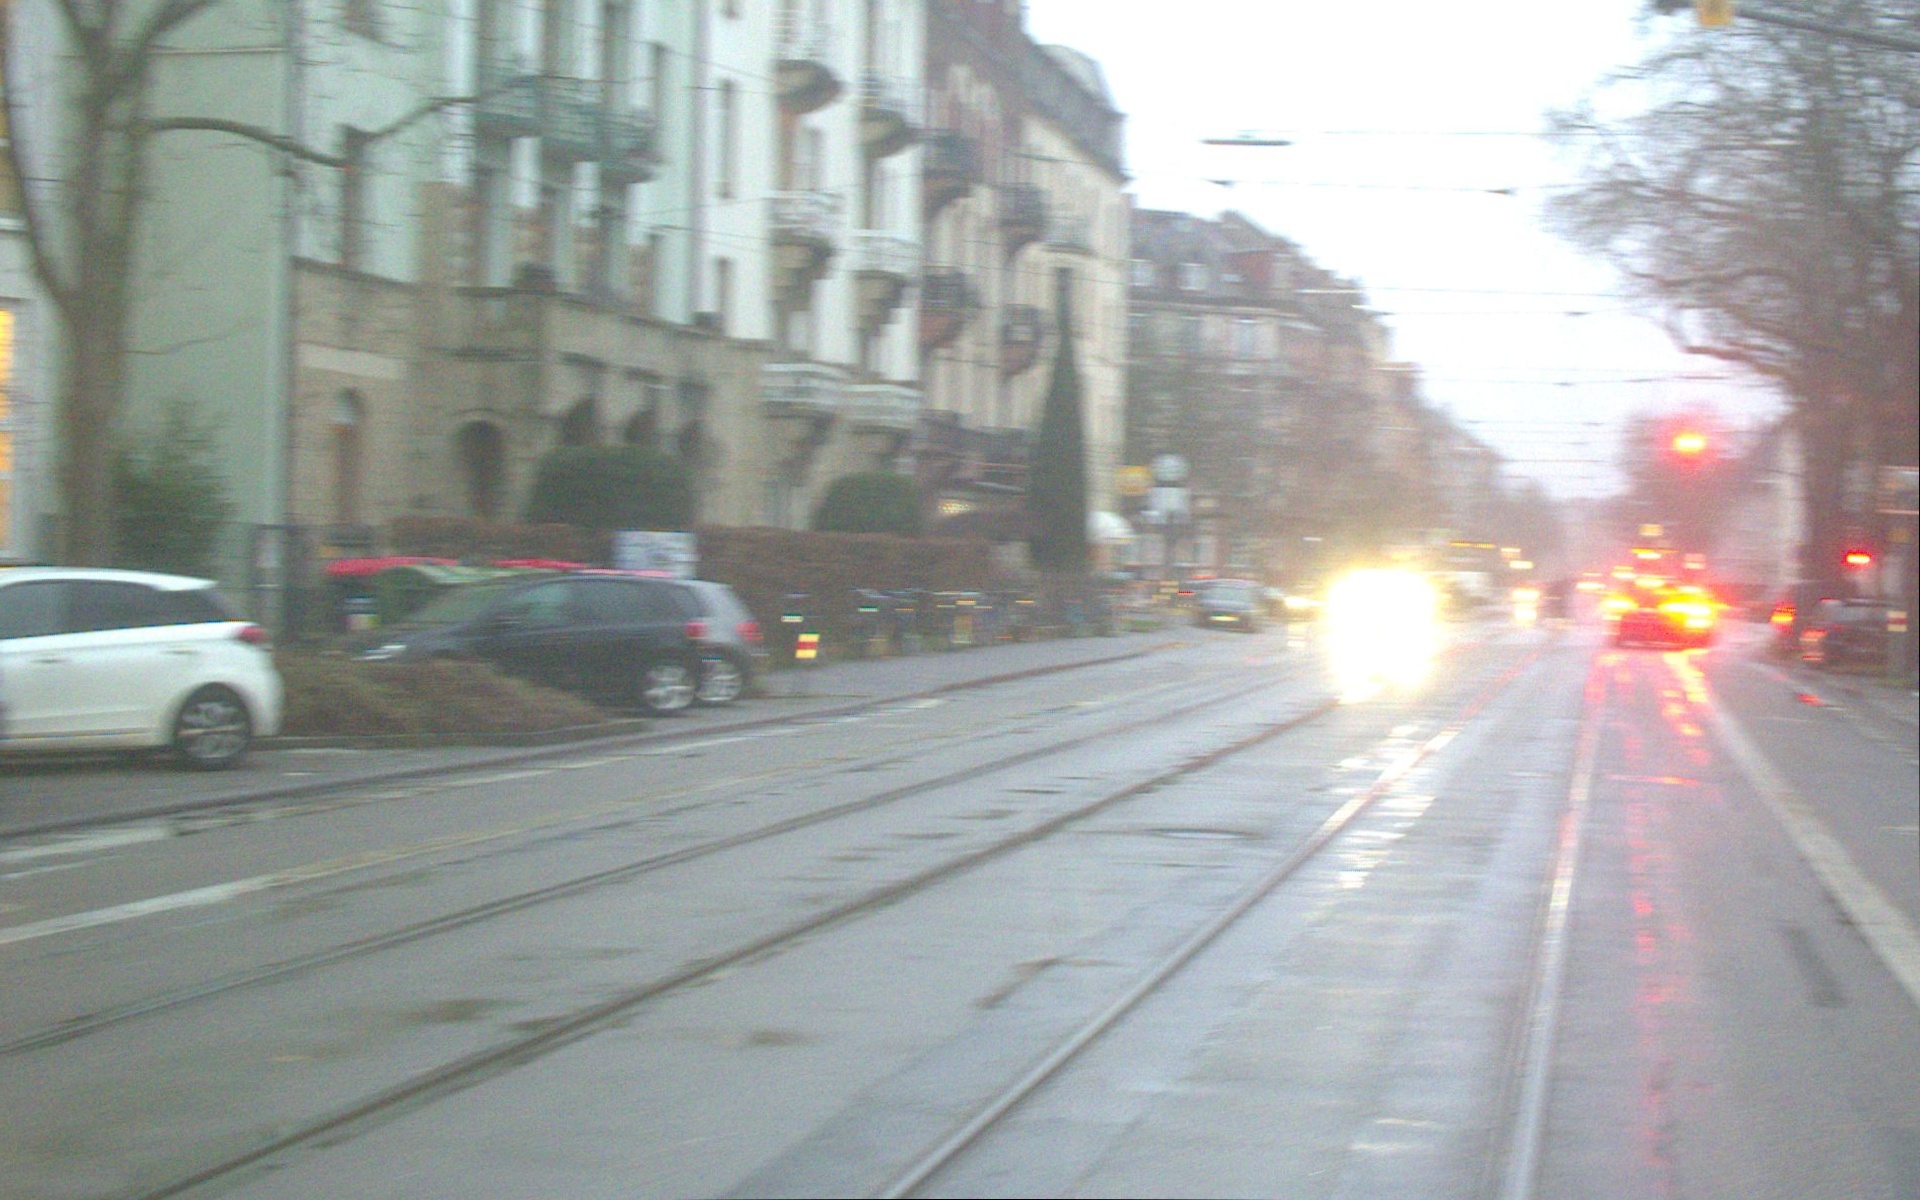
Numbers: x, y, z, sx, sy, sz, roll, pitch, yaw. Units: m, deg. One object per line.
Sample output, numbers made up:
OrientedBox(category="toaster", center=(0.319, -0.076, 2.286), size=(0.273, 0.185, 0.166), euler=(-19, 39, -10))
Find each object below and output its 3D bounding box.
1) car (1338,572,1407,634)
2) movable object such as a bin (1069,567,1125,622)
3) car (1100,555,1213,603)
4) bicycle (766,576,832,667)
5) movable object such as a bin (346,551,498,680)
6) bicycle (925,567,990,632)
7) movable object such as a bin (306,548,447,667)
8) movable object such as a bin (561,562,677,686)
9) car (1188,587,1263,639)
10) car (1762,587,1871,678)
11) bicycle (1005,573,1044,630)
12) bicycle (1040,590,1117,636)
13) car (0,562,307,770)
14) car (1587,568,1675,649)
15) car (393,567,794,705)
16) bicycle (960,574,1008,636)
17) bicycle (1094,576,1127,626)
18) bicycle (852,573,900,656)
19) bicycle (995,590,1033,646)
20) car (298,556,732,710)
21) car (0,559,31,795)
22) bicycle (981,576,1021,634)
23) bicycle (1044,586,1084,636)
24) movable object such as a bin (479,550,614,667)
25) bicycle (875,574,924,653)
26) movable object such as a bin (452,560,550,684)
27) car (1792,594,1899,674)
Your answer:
OrientedBox(category="car", center=(13.706, 0.083, 114.119), size=(2.047, 1.915, 5.098), euler=(1, 1, 9))
OrientedBox(category="movable object such as a bin", center=(3.947, -0.172, 99.229), size=(1.409, 1.525, 1.364), euler=(1, 1, 11))
OrientedBox(category="car", center=(7.379, -0.792, 129.006), size=(3.989, 1.722, 1.739), euler=(1, 1, 13))
OrientedBox(category="bicycle", center=(-2.233, 0.290, 47.857), size=(0.692, 1.208, 1.596), euler=(1, 1, 5))
OrientedBox(category="movable object such as a bin", center=(-6.235, 0.162, 39.910), size=(1.264, 1.445, 1.324), euler=(1, 1, 18))
OrientedBox(category="bicycle", center=(-0.032, 0.000, 59.407), size=(0.692, 1.027, 1.593), euler=(0, -3, 16))
OrientedBox(category="movable object such as a bin", center=(-7.313, 0.079, 43.127), size=(1.264, 1.445, 1.324), euler=(1, 1, 18))
OrientedBox(category="movable object such as a bin", center=(-4.107, 0.278, 41.352), size=(1.262, 1.445, 1.112), euler=(1, 1, -11))
OrientedBox(category="car", center=(8.064, 0.370, 104.160), size=(1.834, 1.442, 3.998), euler=(1, 1, 11))
OrientedBox(category="car", center=(19.462, 0.702, 78.290), size=(1.994, 1.894, 5.025), euler=(1, 1, 10))
OrientedBox(category="bicycle", center=(1.266, 0.028, 67.351), size=(0.486, 1.096, 1.930), euler=(0, 0, 9))
OrientedBox(category="bicycle", center=(2.877, 0.317, 83.396), size=(1.805, 1.077, 0.616), euler=(1, 1, 4))
OrientedBox(category="car", center=(-6.863, 0.448, 24.808), size=(3.840, 1.418, 1.737), euler=(0, 1, -35))
OrientedBox(category="car", center=(16.905, 0.224, 86.780), size=(1.994, 1.890, 4.757), euler=(3, 0, 10))
OrientedBox(category="car", center=(-4.040, 0.374, 38.036), size=(3.987, 1.423, 1.848), euler=(0, 1, -32))
OrientedBox(category="bicycle", center=(0.427, 0.096, 61.320), size=(0.692, 1.027, 1.596), euler=(1, -3, 6))
OrientedBox(category="bicycle", center=(3.414, 0.011, 77.853), size=(0.614, 1.077, 1.810), euler=(1, 1, 6))
OrientedBox(category="bicycle", center=(-1.269, 0.214, 52.228), size=(0.629, 1.208, 1.596), euler=(1, 1, 1))
OrientedBox(category="bicycle", center=(1.035, 0.340, 65.496), size=(0.692, 1.027, 1.596), euler=(1, 0, 1))
OrientedBox(category="car", center=(-4.533, 0.335, 35.184), size=(3.987, 1.465, 1.832), euler=(1, 1, -34))
OrientedBox(category="car", center=(-7.946, 0.462, 21.326), size=(3.986, 1.458, 1.737), euler=(0, 0, -24))
OrientedBox(category="bicycle", center=(0.763, 0.097, 63.452), size=(0.692, 1.027, 1.596), euler=(1, -1, 1))
OrientedBox(category="bicycle", center=(2.193, 0.231, 72.318), size=(0.626, 1.014, 1.805), euler=(0, 1, 9))
OrientedBox(category="movable object such as a bin", center=(-5.293, 0.091, 44.037), size=(1.264, 1.445, 1.324), euler=(1, 1, 18))
OrientedBox(category="bicycle", center=(-0.954, 0.202, 54.733), size=(0.692, 1.208, 1.596), euler=(1, 1, 1))
OrientedBox(category="movable object such as a bin", center=(-5.502, 0.252, 41.154), size=(1.088, 1.445, 1.112), euler=(1, 1, -10))
OrientedBox(category="car", center=(17.251, 0.643, 67.093), size=(1.678, 1.455, 4.041), euler=(1, 1, 10))
